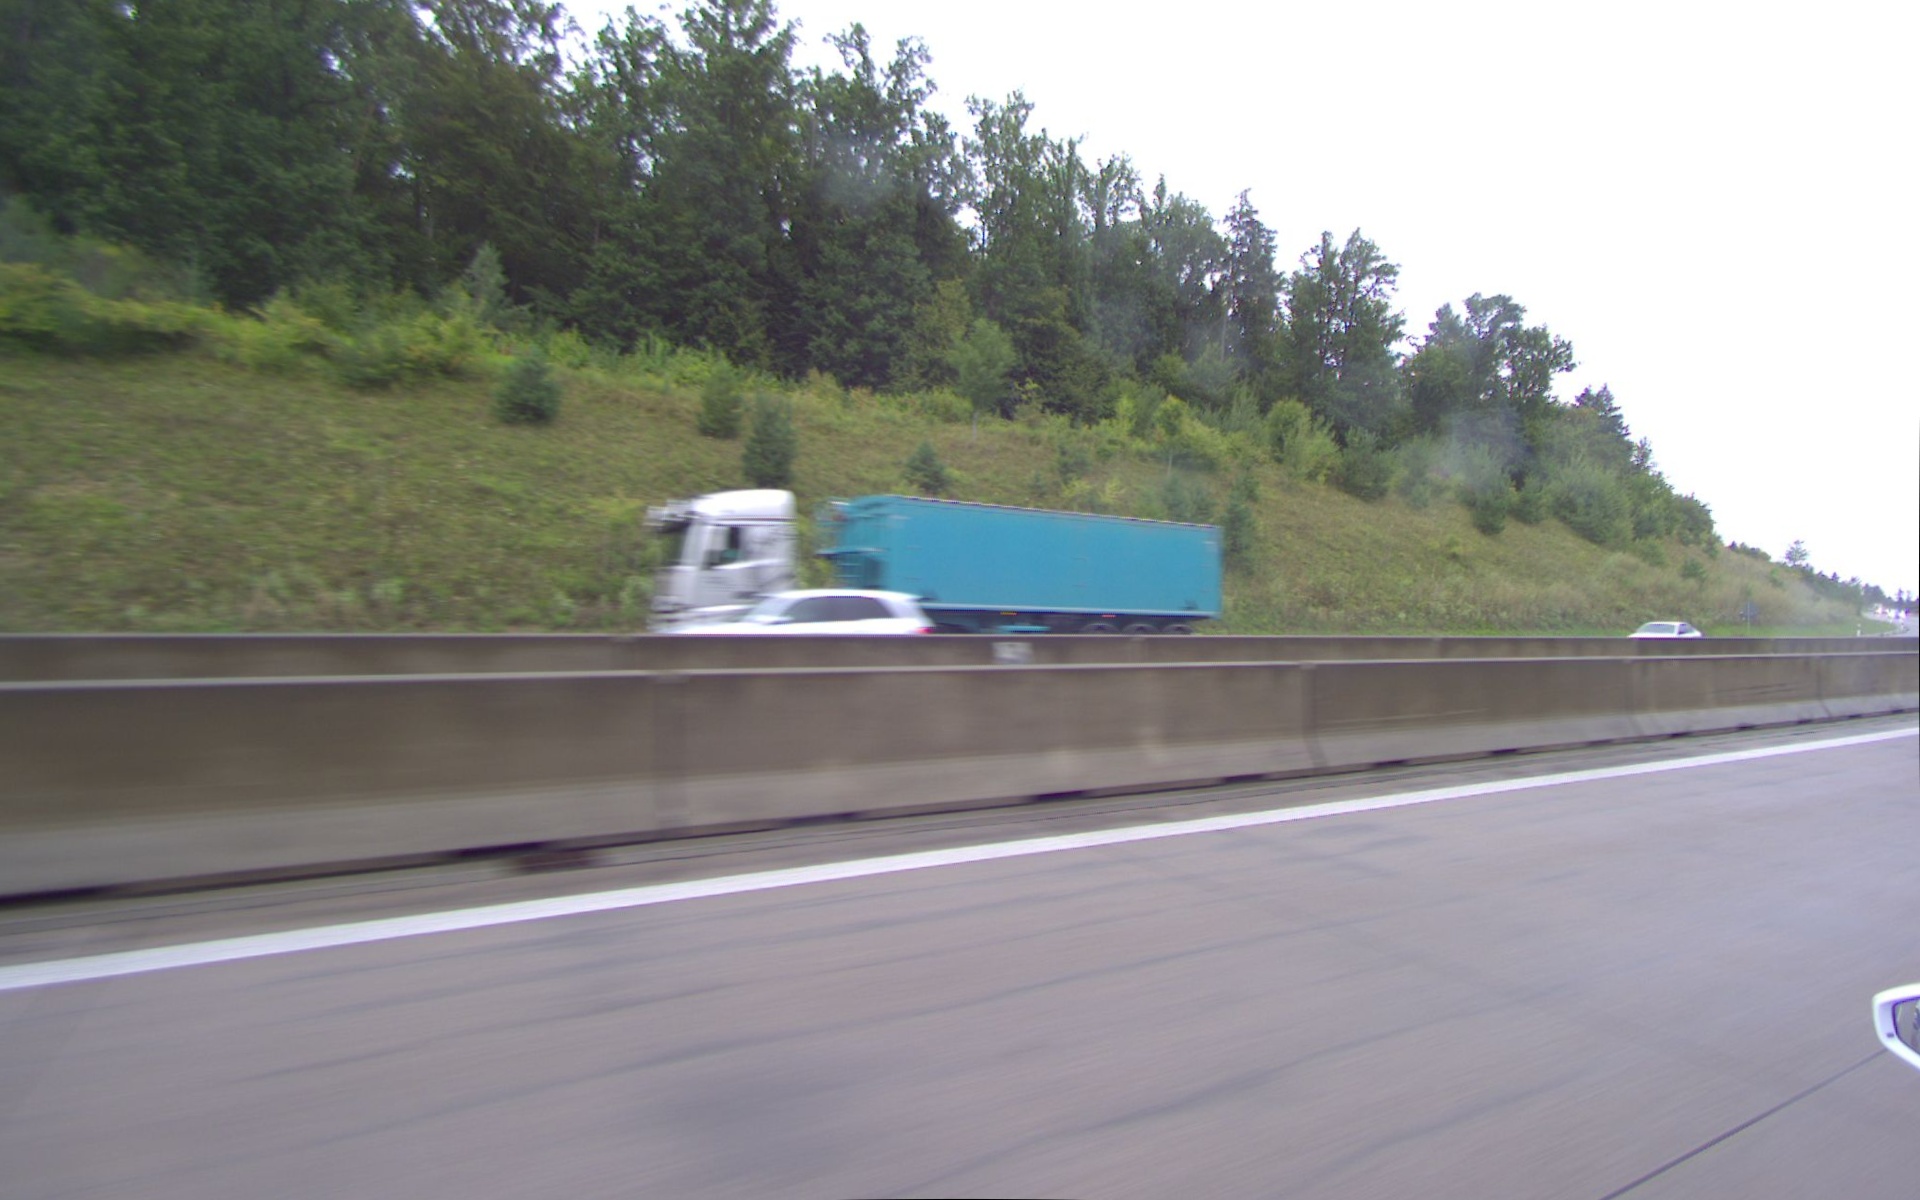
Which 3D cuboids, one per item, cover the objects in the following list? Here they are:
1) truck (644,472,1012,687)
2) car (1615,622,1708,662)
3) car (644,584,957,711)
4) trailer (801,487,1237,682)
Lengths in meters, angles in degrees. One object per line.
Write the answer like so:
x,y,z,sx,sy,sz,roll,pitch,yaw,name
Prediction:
-2.710,-0.306,21.613,7.282,3.941,2.891,1,0,-32,truck
29.376,1.738,42.037,4.197,1.597,1.721,1,-1,-32,car
-2.491,0.722,16.229,4.705,1.800,1.721,1,-1,-32,car
1.787,-0.210,24.432,10.912,3.941,2.891,1,0,-32,trailer
